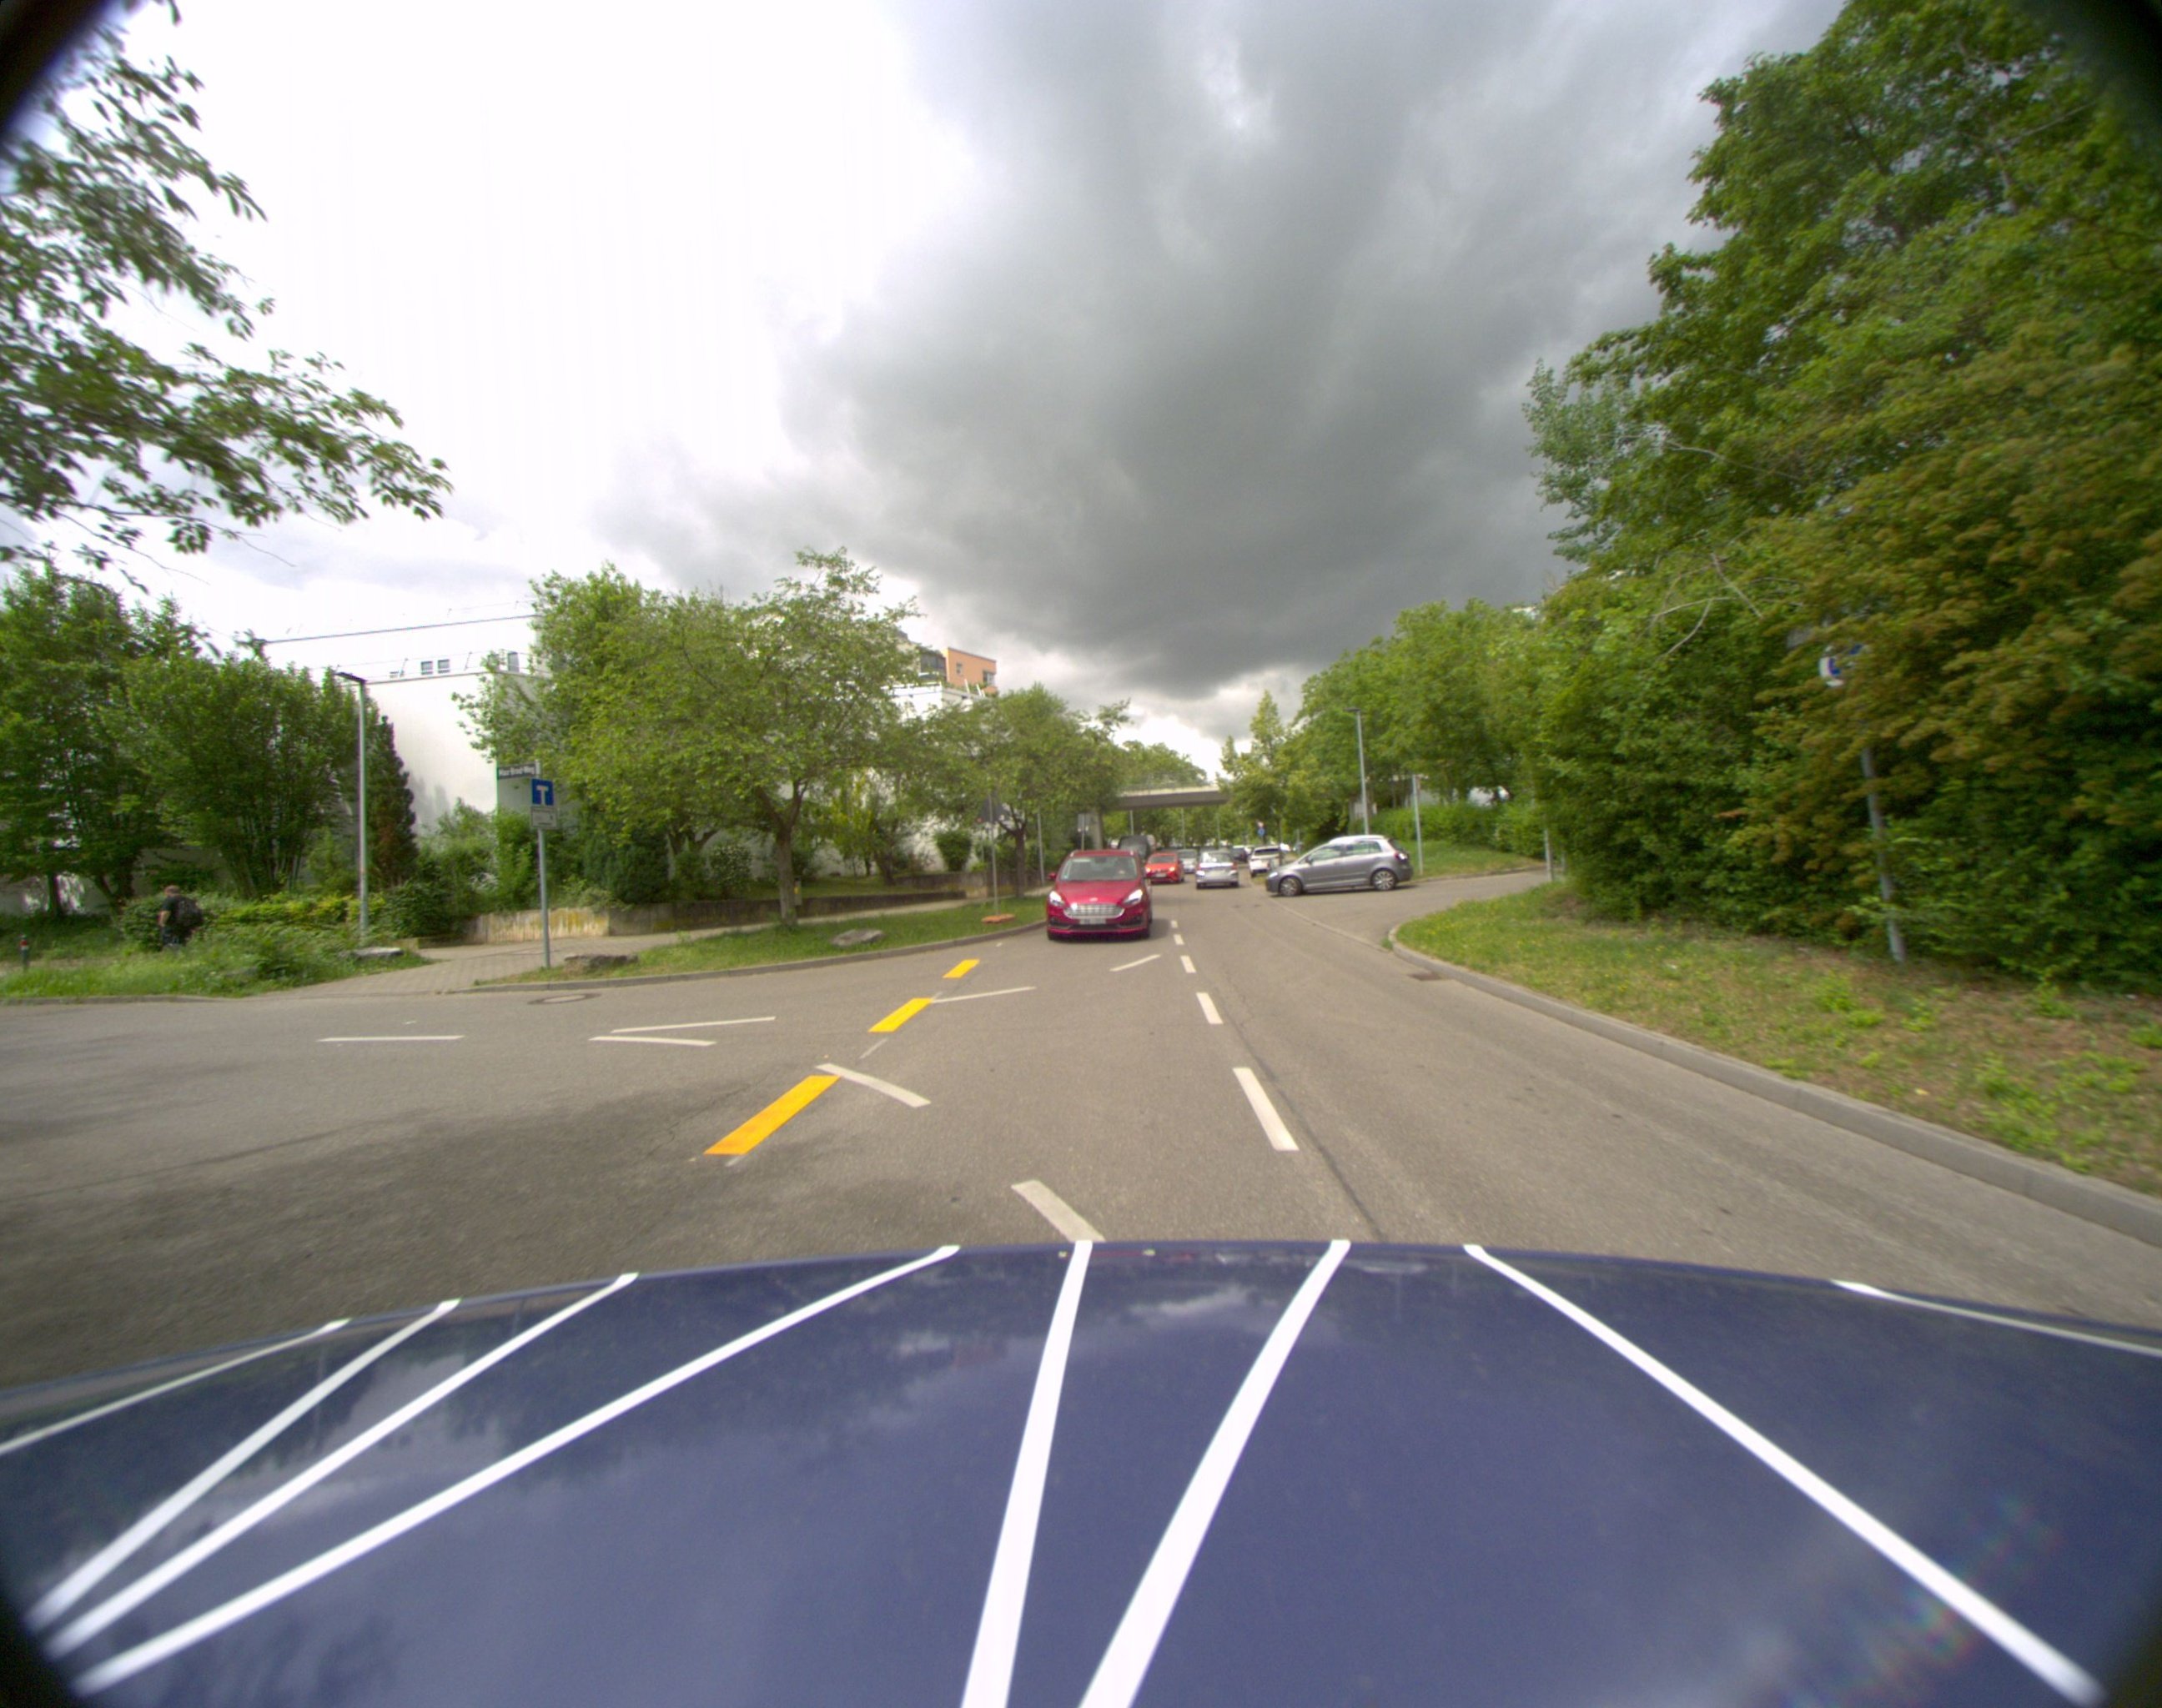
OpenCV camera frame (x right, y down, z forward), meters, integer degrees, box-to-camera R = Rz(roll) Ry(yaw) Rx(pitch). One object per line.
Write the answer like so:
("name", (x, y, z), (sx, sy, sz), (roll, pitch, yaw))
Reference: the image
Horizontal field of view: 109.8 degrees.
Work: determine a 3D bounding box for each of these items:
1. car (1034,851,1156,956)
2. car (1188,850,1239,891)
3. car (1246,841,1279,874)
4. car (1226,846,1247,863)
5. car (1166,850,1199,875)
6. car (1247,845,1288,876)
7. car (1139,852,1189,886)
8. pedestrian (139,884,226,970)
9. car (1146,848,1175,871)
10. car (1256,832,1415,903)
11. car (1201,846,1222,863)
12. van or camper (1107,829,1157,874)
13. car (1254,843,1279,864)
("car", (0.403, 0.791, 14.011), (1.812, 1.600, 3.723), (-1, 1, 7))
("car", (5.381, 0.628, 30.840), (1.844, 1.447, 3.655), (-3, 1, 10))
("car", (10.210, 0.167, 42.751), (1.596, 1.575, 2.687), (-7, 0, 14))
("car", (14.033, 0.049, 68.339), (1.754, 1.411, 4.371), (-2, 0, 12))
("car", (6.672, 0.514, 49.689), (1.779, 1.443, 4.003), (-3, 1, 11))
("car", (9.335, 0.290, 38.176), (1.811, 1.397, 4.051), (-3, 1, 13))
("car", (3.997, 0.686, 36.136), (1.860, 1.434, 4.004), (-3, 0, 13))
("pedestrian", (-19.284, 1.546, 16.320), (0.834, 1.727, 0.786), (-3, 1, 8))
("car", (5.930, 0.383, 56.508), (1.603, 1.478, 3.725), (-3, 1, 13))
("car", (7.498, 0.410, 22.392), (4.111, 1.652, 1.761), (-6, 0, 27))
("car", (11.749, 0.039, 68.410), (1.779, 1.412, 4.003), (-1, 1, 10))
("van or camper", (3.159, -0.196, 45.695), (1.996, 2.481, 5.763), (-3, 1, 13))
("car", (15.907, -0.061, 65.018), (1.810, 1.561, 3.726), (-3, 1, 17))
